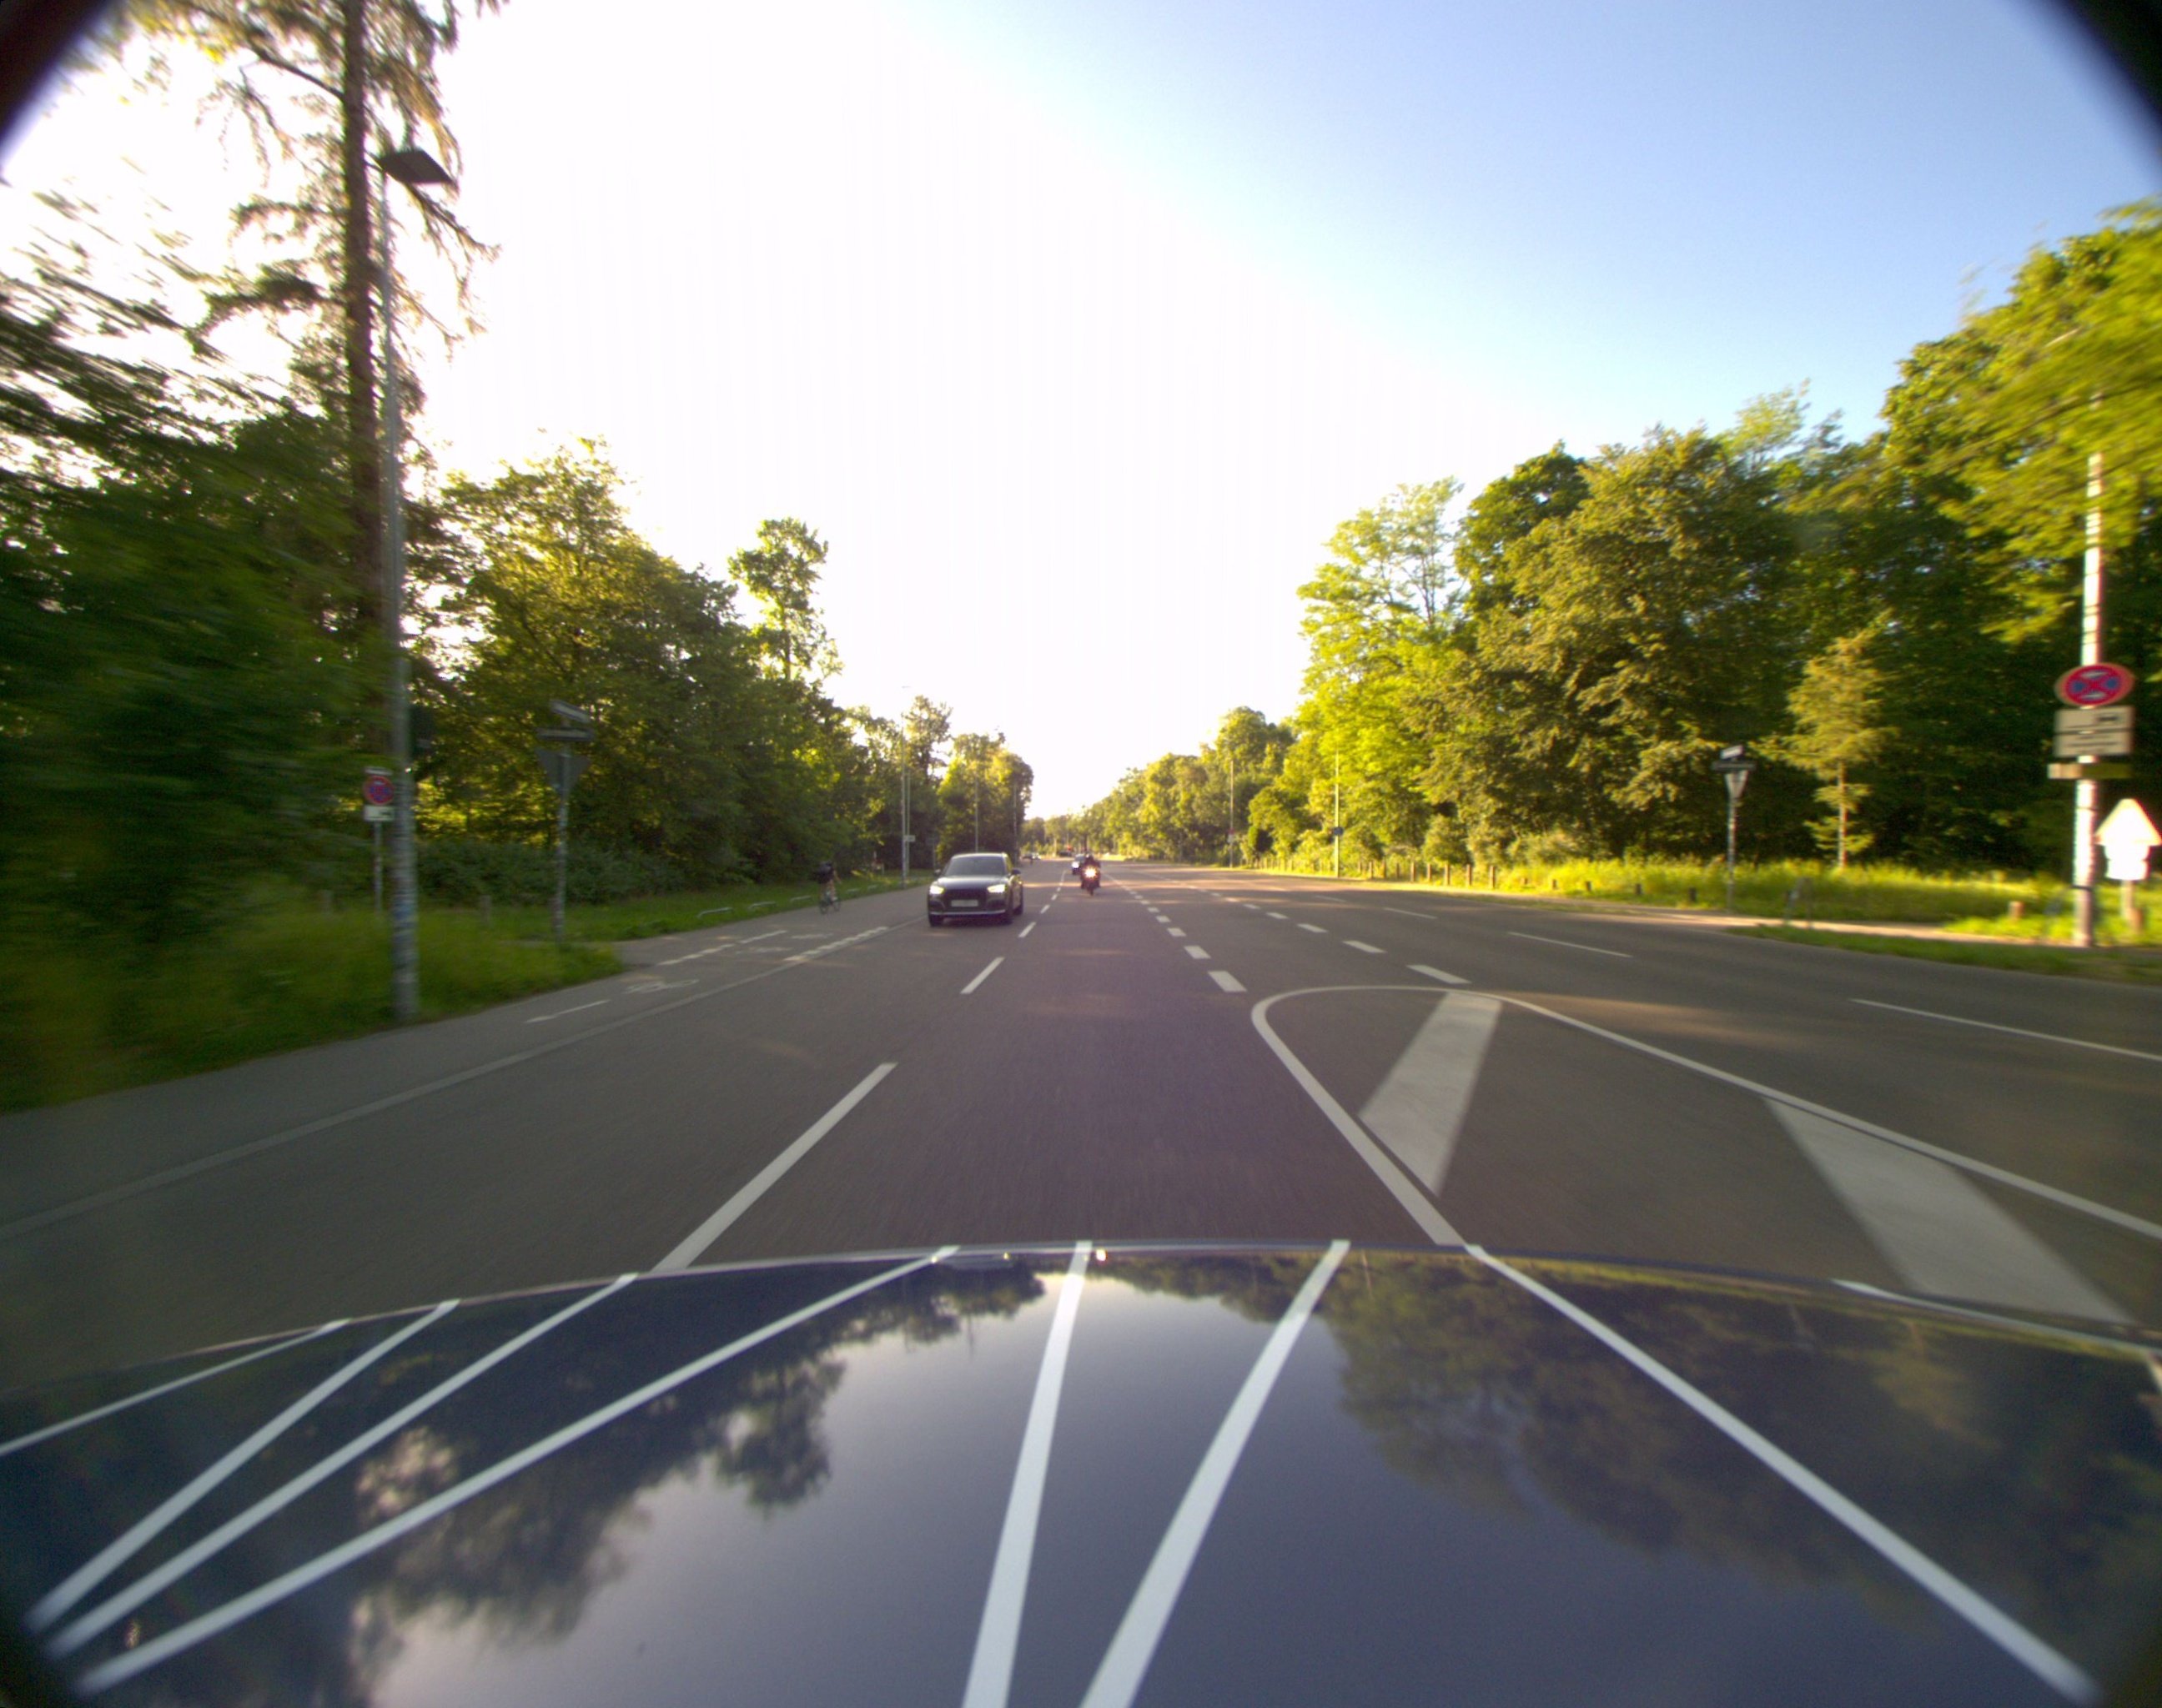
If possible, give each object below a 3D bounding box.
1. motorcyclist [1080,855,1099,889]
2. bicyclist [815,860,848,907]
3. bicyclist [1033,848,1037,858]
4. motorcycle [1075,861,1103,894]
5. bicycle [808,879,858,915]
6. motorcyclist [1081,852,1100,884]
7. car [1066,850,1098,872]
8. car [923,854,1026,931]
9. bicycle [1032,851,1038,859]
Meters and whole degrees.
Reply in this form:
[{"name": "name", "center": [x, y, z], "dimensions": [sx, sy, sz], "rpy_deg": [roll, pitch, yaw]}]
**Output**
[{"name": "motorcyclist", "center": [0.321, 0.699, 29.912], "dimensions": [0.671, 1.257, 0.826], "rpy_deg": [-2, 1, 3]}, {"name": "bicyclist", "center": [-7.530, 0.879, 22.939], "dimensions": [0.480, 1.377, 0.879], "rpy_deg": [-1, 1, 15]}, {"name": "bicyclist", "center": [-6.886, -0.164, 114.036], "dimensions": [0.522, 1.460, 0.860], "rpy_deg": [2, 0, -13]}, {"name": "motorcycle", "center": [0.346, 0.900, 30.152], "dimensions": [0.915, 1.243, 2.964], "rpy_deg": [0, -1, 5]}, {"name": "bicycle", "center": [-7.486, 1.284, 23.030], "dimensions": [0.551, 0.962, 1.759], "rpy_deg": [-1, 1, 15]}, {"name": "motorcyclist", "center": [0.397, 0.555, 30.799], "dimensions": [0.671, 1.257, 0.826], "rpy_deg": [-1, 1, 5]}, {"name": "car", "center": [0.057, 0.493, 57.446], "dimensions": [1.868, 1.538, 4.793], "rpy_deg": [-1, 0, -6]}, {"name": "car", "center": [-2.484, 0.843, 18.897], "dimensions": [1.898, 1.596, 4.543], "rpy_deg": [-2, 1, 0]}, {"name": "bicycle", "center": [-6.938, 0.150, 113.978], "dimensions": [0.556, 1.130, 1.862], "rpy_deg": [2, 0, -12]}]
